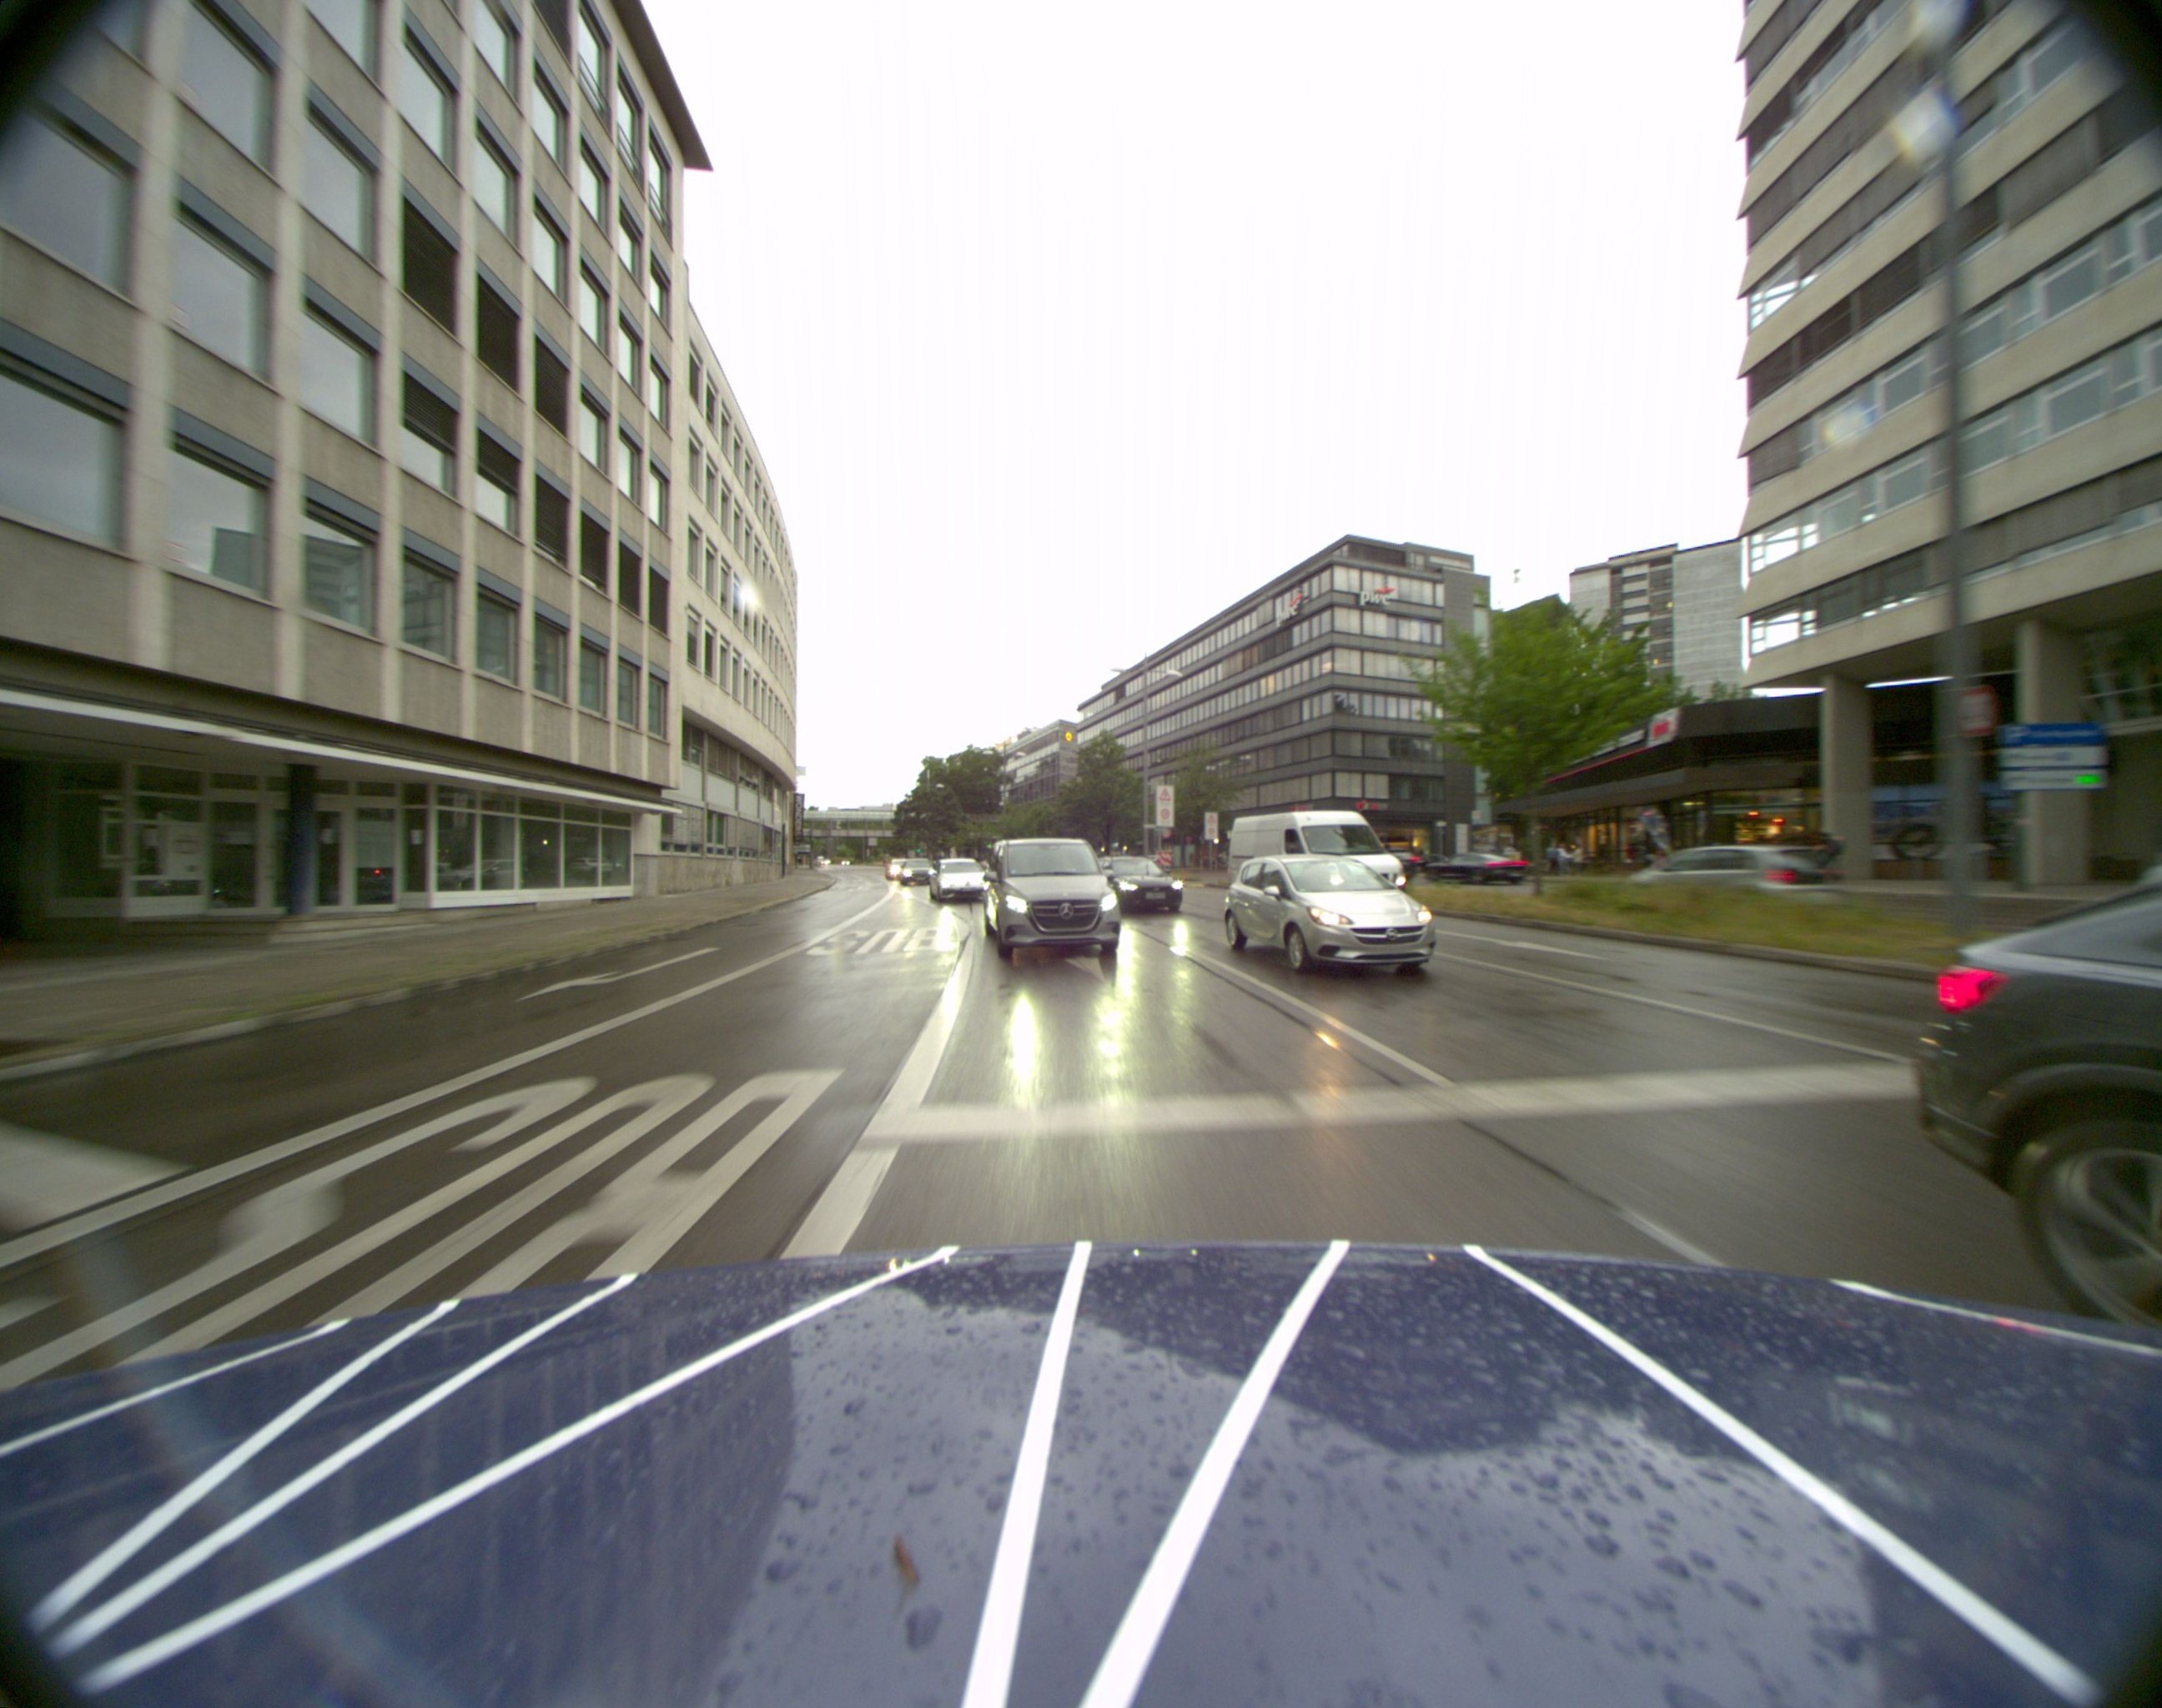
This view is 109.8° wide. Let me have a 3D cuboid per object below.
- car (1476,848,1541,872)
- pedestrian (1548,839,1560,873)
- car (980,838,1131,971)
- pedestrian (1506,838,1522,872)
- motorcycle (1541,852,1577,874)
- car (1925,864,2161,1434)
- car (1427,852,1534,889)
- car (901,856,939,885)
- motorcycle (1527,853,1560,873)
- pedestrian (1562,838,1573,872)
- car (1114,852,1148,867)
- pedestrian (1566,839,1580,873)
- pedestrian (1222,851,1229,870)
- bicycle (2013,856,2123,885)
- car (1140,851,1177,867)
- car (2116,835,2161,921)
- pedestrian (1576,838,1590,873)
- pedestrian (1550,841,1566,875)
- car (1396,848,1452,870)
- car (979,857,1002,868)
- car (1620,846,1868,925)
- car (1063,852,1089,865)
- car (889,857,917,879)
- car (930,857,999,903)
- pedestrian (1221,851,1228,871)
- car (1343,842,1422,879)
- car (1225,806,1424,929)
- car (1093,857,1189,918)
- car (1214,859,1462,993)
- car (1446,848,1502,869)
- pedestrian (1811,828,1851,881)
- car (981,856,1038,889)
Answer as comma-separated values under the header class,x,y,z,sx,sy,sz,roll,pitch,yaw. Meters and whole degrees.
class,x,y,z,sx,sy,sz,roll,pitch,yaw
car,29.388,0.391,52.225,3.767,1.575,1.847,-1,0,-19
pedestrian,24.615,0.102,39.531,0.328,1.761,0.437,-1,1,2
car,-0.676,0.717,13.470,1.918,1.844,5.022,-2,0,-10
pedestrian,23.124,0.057,40.576,0.536,1.761,0.550,-1,1,3
motorcycle,26.828,0.523,42.652,1.665,1.226,0.361,-1,1,34
car,3.775,0.801,0.491,1.652,1.513,4.270,-2,0,-1
car,17.037,0.648,32.654,1.868,1.371,4.407,-2,1,-8
car,-9.334,0.896,43.827,2.001,1.456,4.398,-2,1,-13
motorcycle,27.794,0.539,45.673,1.622,1.138,0.360,-1,1,25
pedestrian,25.632,0.063,40.044,0.328,1.761,0.358,-1,1,3
car,5.267,0.543,80.300,2.002,1.498,4.100,-1,0,-20
pedestrian,25.129,0.098,38.813,0.428,1.761,0.470,-1,1,3
pedestrian,14.952,0.666,78.667,0.576,2.002,0.461,-2,1,-21
bicycle,32.359,0.523,24.956,0.460,0.854,2.188,-2,1,-16
car,7.525,0.480,74.242,2.002,1.498,3.993,-1,0,-20
car,20.632,0.446,12.639,1.643,1.562,3.716,-2,1,-6
pedestrian,25.646,0.084,38.819,0.428,1.761,0.470,-1,1,3
pedestrian,24.363,0.201,38.800,0.556,1.761,0.404,-1,1,3
car,26.879,0.397,59.615,3.767,1.575,1.847,-1,0,-19
car,-11.523,1.038,96.793,1.753,1.365,3.992,-2,0,-25
car,13.585,0.558,15.918,1.695,1.377,3.866,-2,1,-3
car,-0.596,0.562,95.797,2.002,1.498,3.993,-1,0,-20
car,-12.810,0.967,54.512,1.725,1.456,4.030,-2,1,-16
car,-4.214,0.875,26.997,1.932,1.471,3.995,-1,0,-16
pedestrian,14.560,0.713,77.103,0.541,2.002,0.296,-2,1,-21
car,13.576,0.278,34.470,1.648,1.527,4.150,-1,0,-5
car,5.475,0.263,18.083,1.953,2.426,5.474,-2,0,-13
car,1.530,0.832,20.891,1.777,1.427,4.092,-2,0,-8
car,3.302,0.828,10.614,1.653,1.427,3.872,-2,0,-9
car,31.686,0.326,61.276,3.767,1.575,1.847,-1,0,-19
pedestrian,24.317,0.024,24.636,0.680,1.674,0.761,-2,1,-29
car,-3.387,0.811,35.111,1.778,1.372,4.088,-2,0,-17
